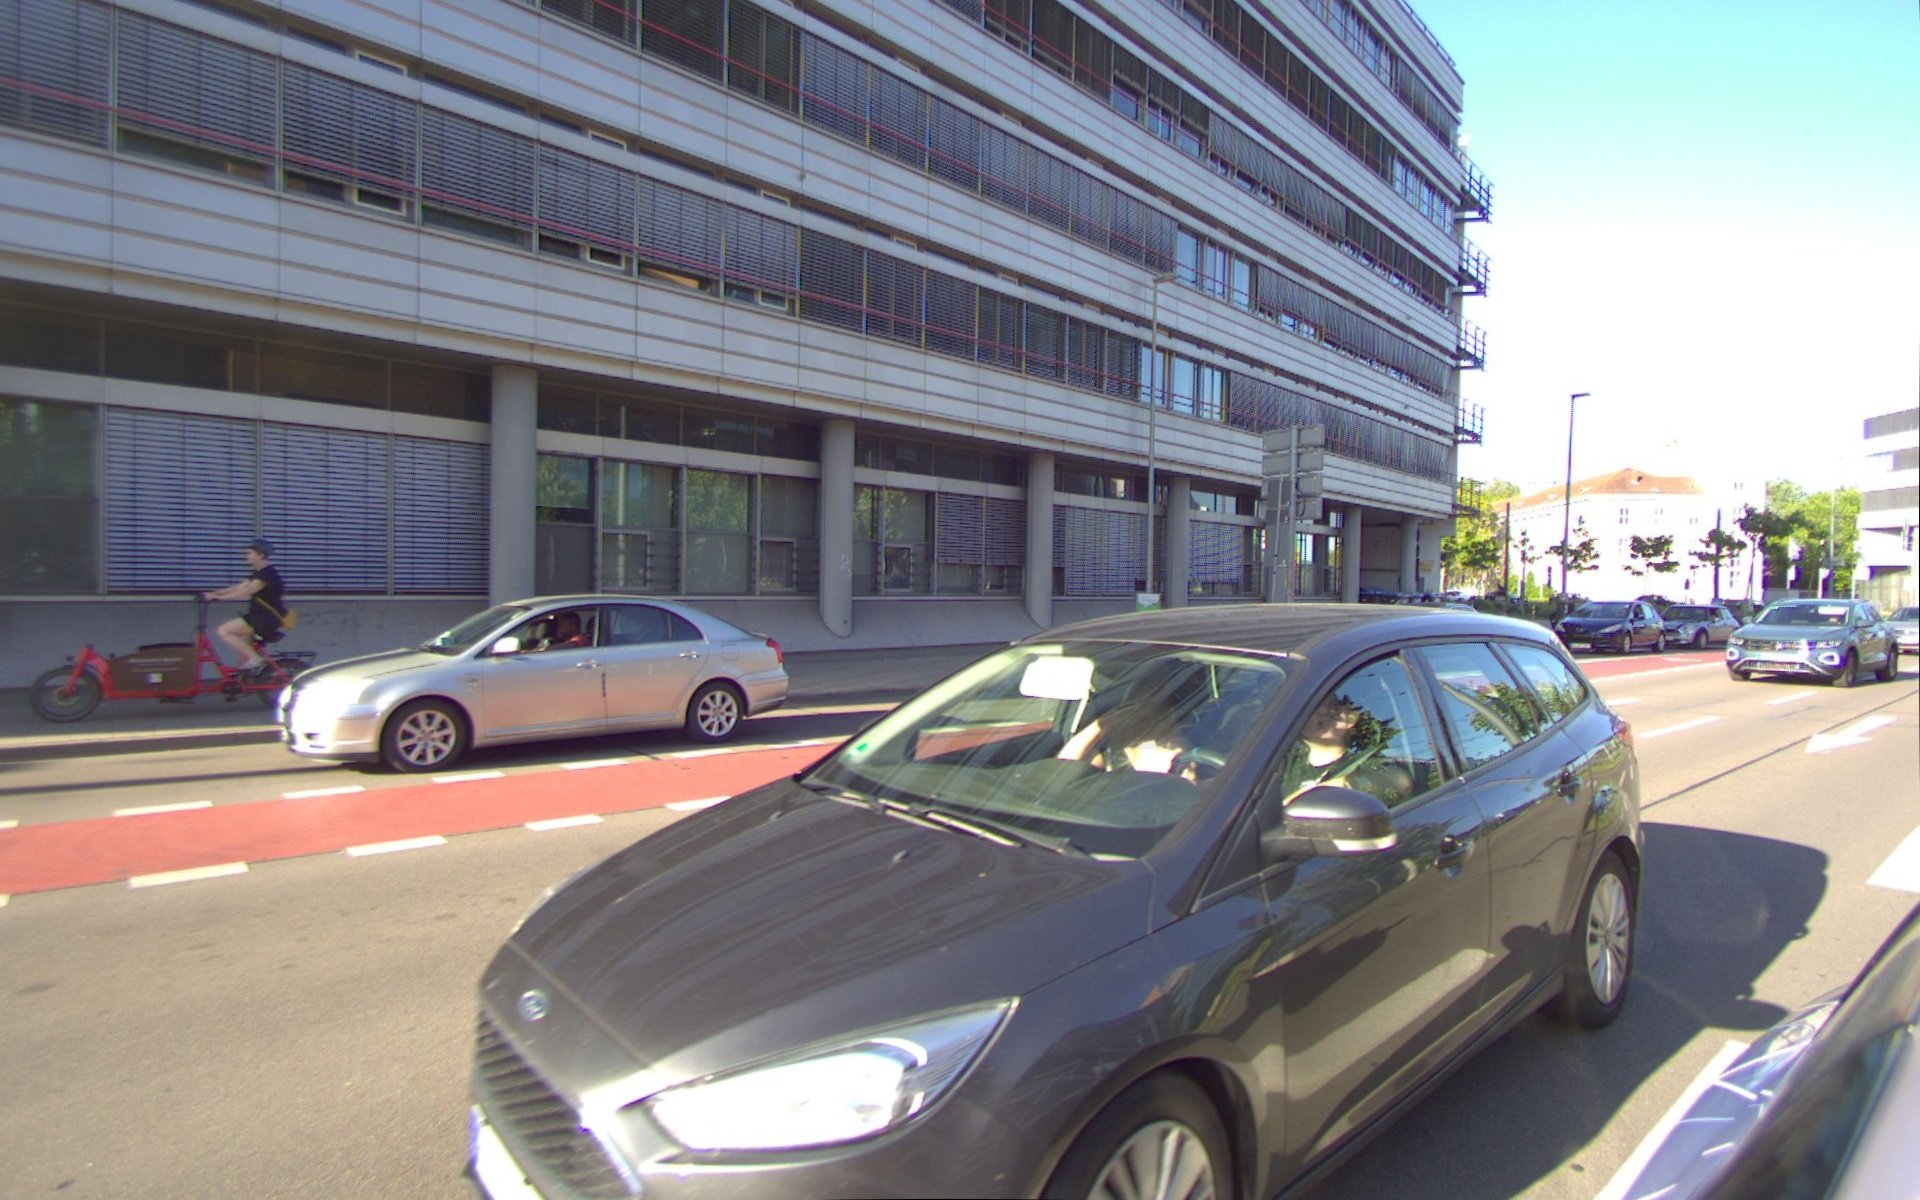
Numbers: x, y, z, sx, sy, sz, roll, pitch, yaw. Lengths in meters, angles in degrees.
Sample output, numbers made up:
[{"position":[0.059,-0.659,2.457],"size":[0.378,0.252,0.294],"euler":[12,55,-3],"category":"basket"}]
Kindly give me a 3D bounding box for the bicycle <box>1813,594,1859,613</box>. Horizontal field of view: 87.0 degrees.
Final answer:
[{"position":[64.887,0.223,75.016],"size":[0.932,1.328,2.376],"euler":[0,1,-27],"category":"bicycle"}]

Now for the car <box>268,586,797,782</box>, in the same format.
[{"position":[-3.928,0.614,9.819],"size":[4.412,1.449,1.753],"euler":[0,2,-43],"category":"car"}]

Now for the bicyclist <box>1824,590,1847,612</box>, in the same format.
[{"position":[64.895,0.062,75.035],"size":[0.862,1.627,1.009],"euler":[0,1,-27],"category":"bicyclist"}]

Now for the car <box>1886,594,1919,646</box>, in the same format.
[{"position":[28.771,0.560,29.644],"size":[3.695,1.447,1.622],"euler":[0,0,-34],"category":"car"}]

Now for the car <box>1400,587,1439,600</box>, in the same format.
[{"position":[52.658,-0.733,116.050],"size":[1.894,1.393,4.009],"euler":[0,1,-14],"category":"car"}]

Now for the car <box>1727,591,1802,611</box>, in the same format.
[{"position":[64.784,0.077,81.559],"size":[1.958,1.439,4.304],"euler":[0,1,-21],"category":"car"}]

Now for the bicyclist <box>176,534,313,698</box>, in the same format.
[{"position":[-7.437,0.123,10.537],"size":[1.027,1.584,0.625],"euler":[-4,7,-44],"category":"bicyclist"}]

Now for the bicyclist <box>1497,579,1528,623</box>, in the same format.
[{"position":[21.302,0.026,39.010],"size":[0.973,1.638,0.685],"euler":[0,1,-39],"category":"bicyclist"}]

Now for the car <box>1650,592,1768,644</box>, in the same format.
[{"position":[23.678,0.588,31.967],"size":[3.918,1.464,1.442],"euler":[3,-1,-28],"category":"car"}]

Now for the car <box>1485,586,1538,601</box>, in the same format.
[{"position":[55.916,-0.649,102.690],"size":[1.958,1.439,4.535],"euler":[0,1,-24],"category":"car"}]

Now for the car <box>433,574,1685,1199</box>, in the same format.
[{"position":[0.758,0.678,3.258],"size":[4.081,1.451,1.688],"euler":[0,1,-41],"category":"car"}]

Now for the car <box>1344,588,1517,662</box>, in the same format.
[{"position":[10.211,0.577,21.884],"size":[4.034,1.460,1.714],"euler":[2,-3,-37],"category":"car"}]

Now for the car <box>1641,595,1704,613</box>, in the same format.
[{"position":[61.936,0.342,88.042],"size":[1.958,1.439,4.009],"euler":[0,1,-21],"category":"car"}]

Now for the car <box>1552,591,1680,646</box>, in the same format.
[{"position":[18.532,0.537,28.557],"size":[3.924,1.464,1.736],"euler":[2,-2,-36],"category":"car"}]

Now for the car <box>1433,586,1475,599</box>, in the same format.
[{"position":[53.473,-0.796,109.655],"size":[1.958,1.259,4.009],"euler":[0,1,-15],"category":"car"}]

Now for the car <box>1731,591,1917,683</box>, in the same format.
[{"position":[16.301,0.614,19.055],"size":[3.806,1.523,1.751],"euler":[0,2,-35],"category":"car"}]

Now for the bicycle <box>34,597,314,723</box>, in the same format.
[{"position":[-7.835,0.546,10.200],"size":[0.499,1.044,2.172],"euler":[7,7,43],"category":"bicycle"}]

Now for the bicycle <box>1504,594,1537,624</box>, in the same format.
[{"position":[21.576,0.342,38.955],"size":[1.672,1.070,0.505],"euler":[-1,4,-40],"category":"bicycle"}]
